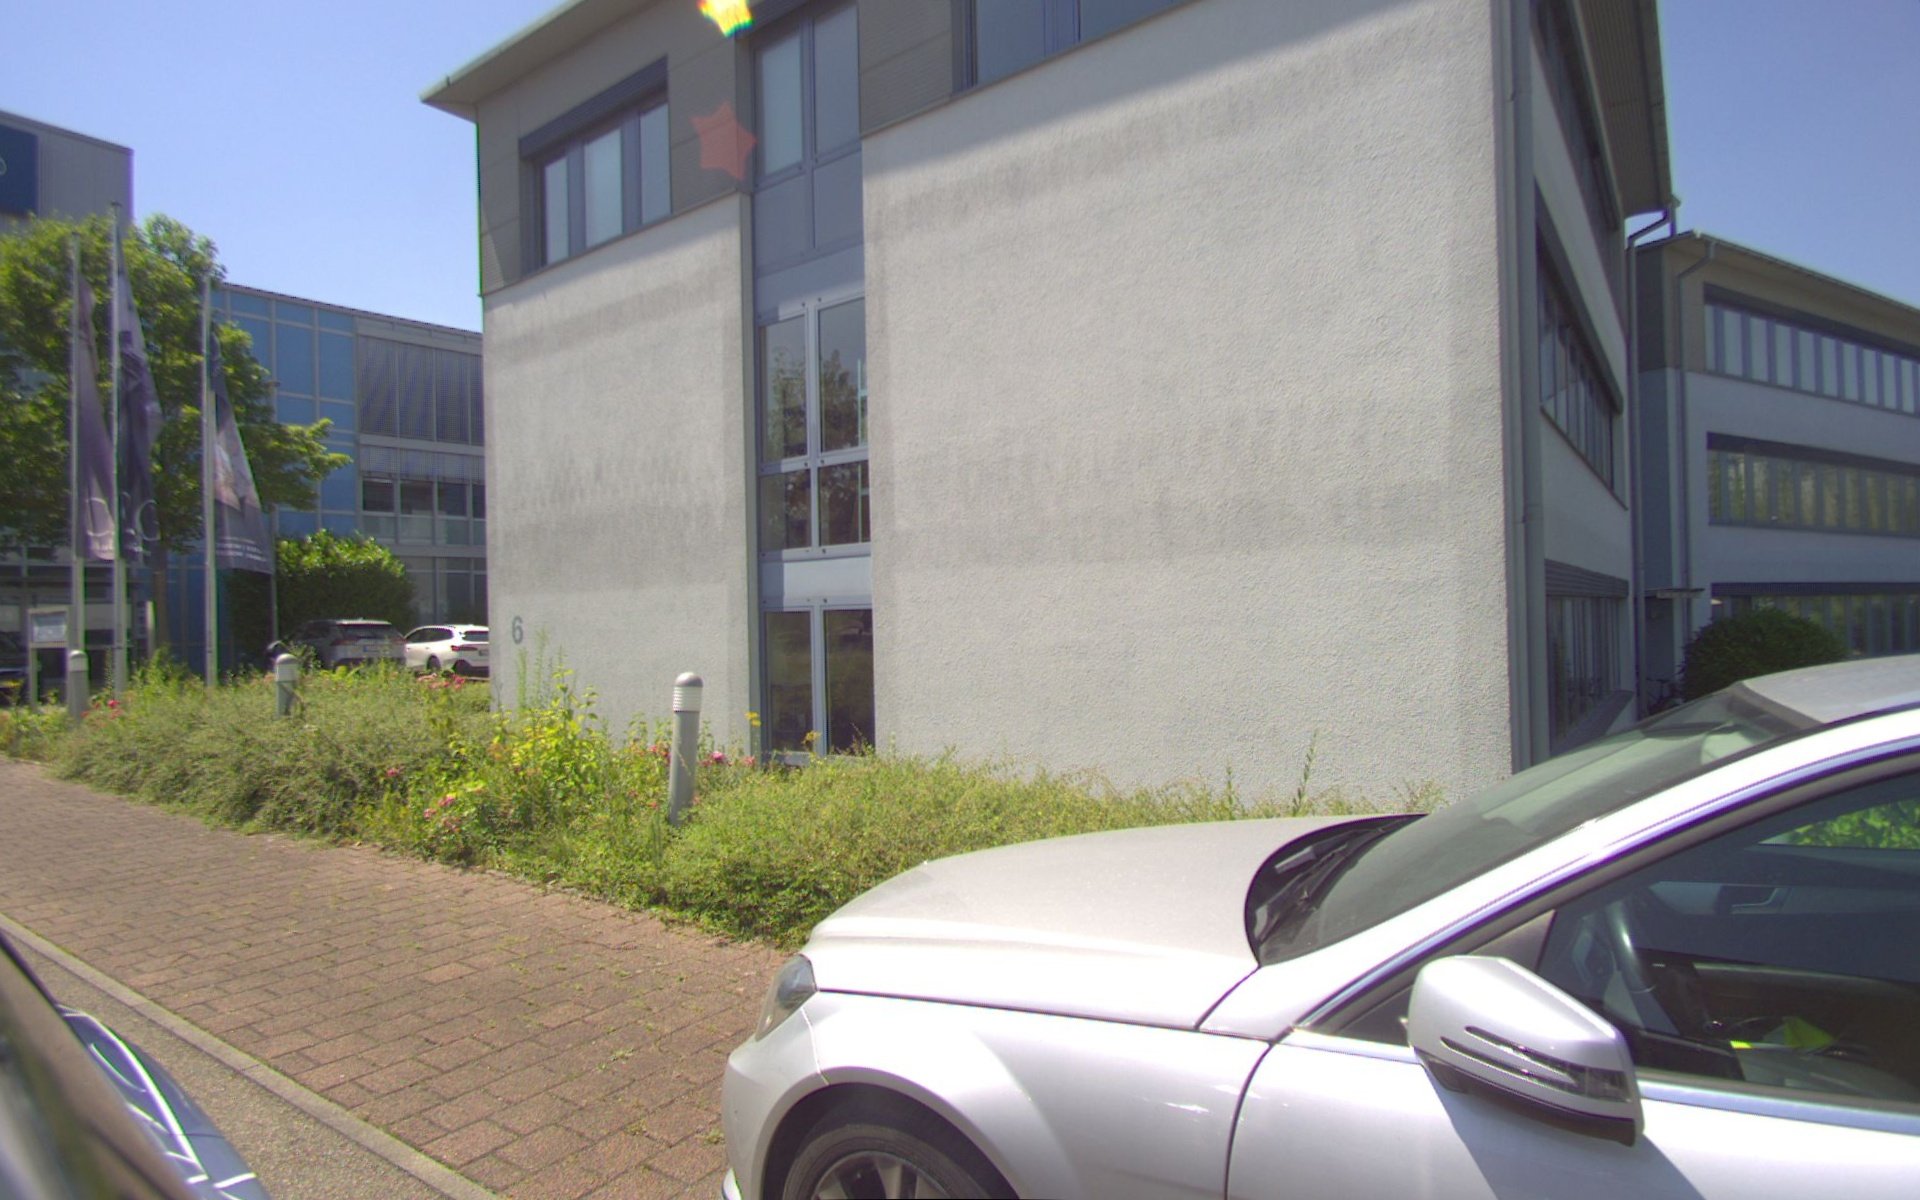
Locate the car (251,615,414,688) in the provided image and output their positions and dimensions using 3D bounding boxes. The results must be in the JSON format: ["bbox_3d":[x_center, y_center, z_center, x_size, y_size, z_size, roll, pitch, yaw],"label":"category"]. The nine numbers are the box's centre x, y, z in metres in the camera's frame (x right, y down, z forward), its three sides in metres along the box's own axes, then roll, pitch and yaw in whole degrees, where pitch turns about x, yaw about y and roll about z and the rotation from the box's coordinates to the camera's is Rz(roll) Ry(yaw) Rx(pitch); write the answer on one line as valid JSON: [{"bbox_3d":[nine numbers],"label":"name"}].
[{"bbox_3d":[-15.466,1.236,24.900,4.159,1.650,1.813,-1,-2,33],"label":"car"}]

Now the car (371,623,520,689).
[{"bbox_3d":[-13.724,1.442,26.923,4.162,1.650,1.812,-1,-2,35],"label":"car"}]

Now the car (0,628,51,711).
[{"bbox_3d":[-19.194,1.295,19.313,4.385,1.495,1.711,-1,-2,34],"label":"car"}]

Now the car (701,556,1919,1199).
[{"bbox_3d":[1.661,0.707,1.399,4.140,1.468,1.713,-1,-2,37],"label":"car"}]

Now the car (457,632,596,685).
[{"bbox_3d":[-12.382,1.615,28.817,4.162,1.411,1.732,-1,-2,35],"label":"car"}]
